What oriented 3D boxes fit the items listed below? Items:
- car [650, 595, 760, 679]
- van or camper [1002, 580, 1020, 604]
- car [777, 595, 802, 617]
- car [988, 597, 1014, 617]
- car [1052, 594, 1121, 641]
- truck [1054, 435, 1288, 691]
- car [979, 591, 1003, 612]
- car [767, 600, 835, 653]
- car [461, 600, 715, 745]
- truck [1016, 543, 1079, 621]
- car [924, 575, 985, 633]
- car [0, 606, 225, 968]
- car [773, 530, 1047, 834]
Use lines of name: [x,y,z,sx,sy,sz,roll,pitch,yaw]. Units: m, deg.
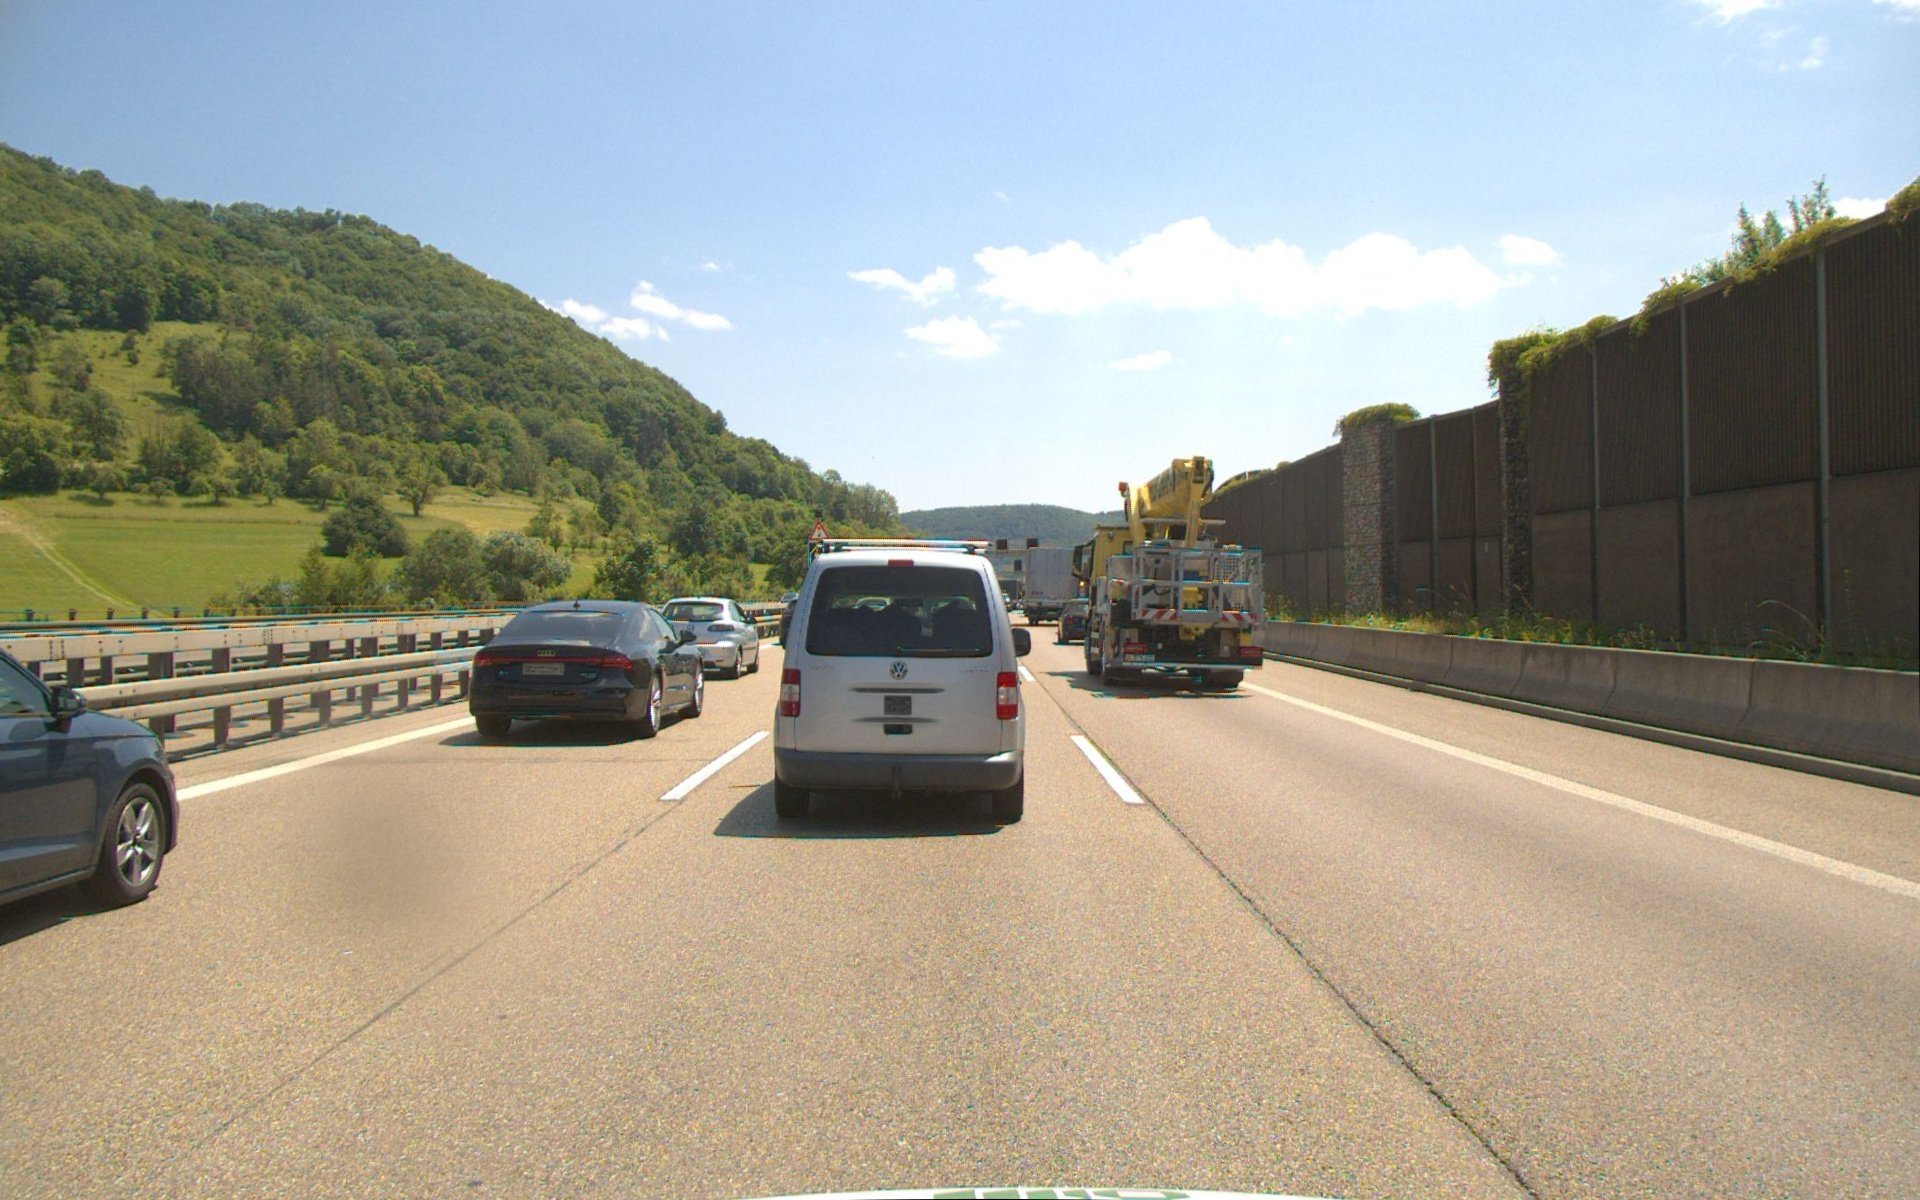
car: [-4.663,0.639,30.664,1.662,1.470,3.859,0,0,-3]
van or camper: [6.396,-1.006,208.967,1.953,3.005,5.421,1,-1,-1]
car: [-15.611,0.540,151.349,1.953,2.049,3.999,0,0,-1]
car: [3.876,0.666,157.057,2.072,1.860,3.996,1,-1,-4]
car: [4.094,0.559,53.999,1.751,1.484,3.768,0,0,-4]
truck: [3.582,-0.582,30.382,2.650,4.011,8.715,0,0,-4]
car: [2.673,0.172,144.386,1.953,1.779,3.999,1,-1,-1]
car: [-4.775,0.766,50.046,1.887,1.525,3.997,1,0,-4]
car: [-4.015,0.705,18.688,1.764,1.415,4.969,0,0,0]
truck: [4.525,-0.873,86.889,2.880,3.890,8.236,1,-1,0]
car: [-0.230,0.142,59.582,1.954,2.010,3.997,0,0,-4]
car: [-4.595,0.739,6.494,1.654,1.413,3.999,0,0,0]
car: [-0.440,0.512,12.404,1.721,1.900,3.997,0,0,-4]
